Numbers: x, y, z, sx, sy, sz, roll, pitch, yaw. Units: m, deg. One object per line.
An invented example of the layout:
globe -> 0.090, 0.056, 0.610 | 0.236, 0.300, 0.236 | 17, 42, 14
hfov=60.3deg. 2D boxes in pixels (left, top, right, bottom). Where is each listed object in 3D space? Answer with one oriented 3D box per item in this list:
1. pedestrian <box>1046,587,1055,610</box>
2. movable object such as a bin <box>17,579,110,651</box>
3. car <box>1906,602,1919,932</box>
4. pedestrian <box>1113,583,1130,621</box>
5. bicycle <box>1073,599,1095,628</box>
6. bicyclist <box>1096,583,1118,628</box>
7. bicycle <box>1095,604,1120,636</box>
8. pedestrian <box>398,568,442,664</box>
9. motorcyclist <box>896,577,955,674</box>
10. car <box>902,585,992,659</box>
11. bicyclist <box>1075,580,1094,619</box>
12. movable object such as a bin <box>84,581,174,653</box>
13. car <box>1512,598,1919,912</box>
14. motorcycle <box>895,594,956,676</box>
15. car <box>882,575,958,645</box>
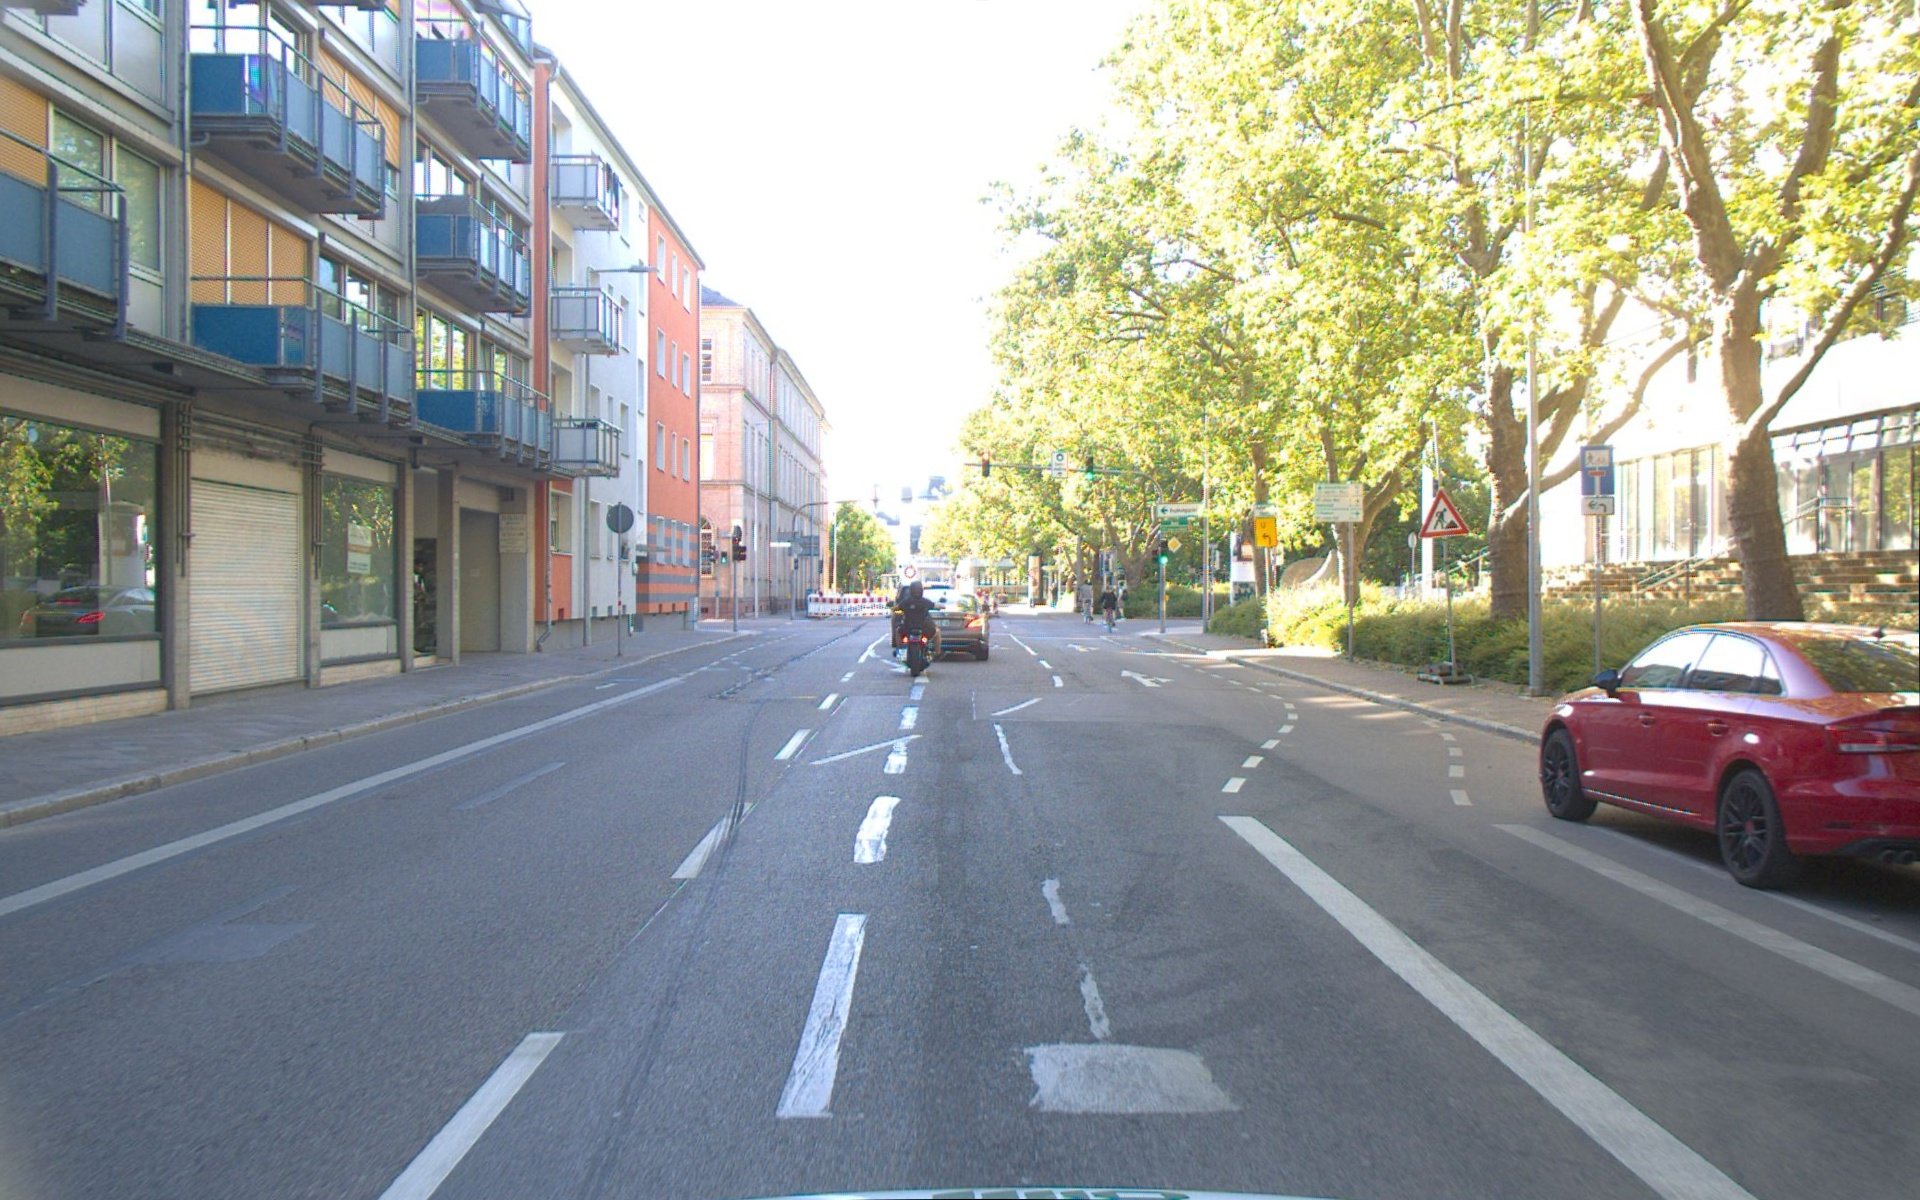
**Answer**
pedestrian -> 6.546, -0.106, 119.078 | 0.580, 1.606, 0.527 | 2, 0, -1
movable object such as a bin -> -18.098, 0.295, 33.416 | 1.291, 1.438, 1.080 | 0, 0, -1
car -> 5.173, 0.801, 5.541 | 1.658, 1.492, 4.066 | 2, 0, 0
pedestrian -> 7.758, 0.074, 79.421 | 0.564, 1.805, 0.620 | 2, 0, -28
bicycle -> 5.030, 0.527, 67.104 | 0.643, 1.131, 2.185 | 2, 0, -1
bicyclist -> 5.145, 0.192, 57.849 | 0.643, 1.557, 0.852 | 2, 0, -1
bicycle -> 5.142, 0.682, 57.864 | 0.643, 1.089, 1.926 | 2, 0, -1
pedestrian -> -9.190, 0.263, 28.164 | 0.503, 1.607, 0.756 | 0, 0, -1
motorcyclist -> -0.591, 0.422, 28.643 | 0.991, 1.630, 1.406 | 0, 0, -1
car -> -0.290, 0.423, 34.863 | 1.791, 1.445, 3.814 | 1, 0, -1
bicyclist -> 5.044, -0.030, 67.015 | 0.643, 1.557, 0.906 | 2, 0, -1
movable object such as a bin -> -16.810, 0.331, 33.489 | 1.291, 1.438, 1.080 | 0, 0, -1
car -> 5.107, 0.777, 10.276 | 1.659, 1.474, 4.434 | 2, 0, -3
motorcycle -> -0.592, 0.567, 28.558 | 0.991, 1.329, 2.672 | 0, 0, -1
car -> -1.078, 0.252, 42.665 | 1.599, 1.679, 3.845 | 2, 0, -6
